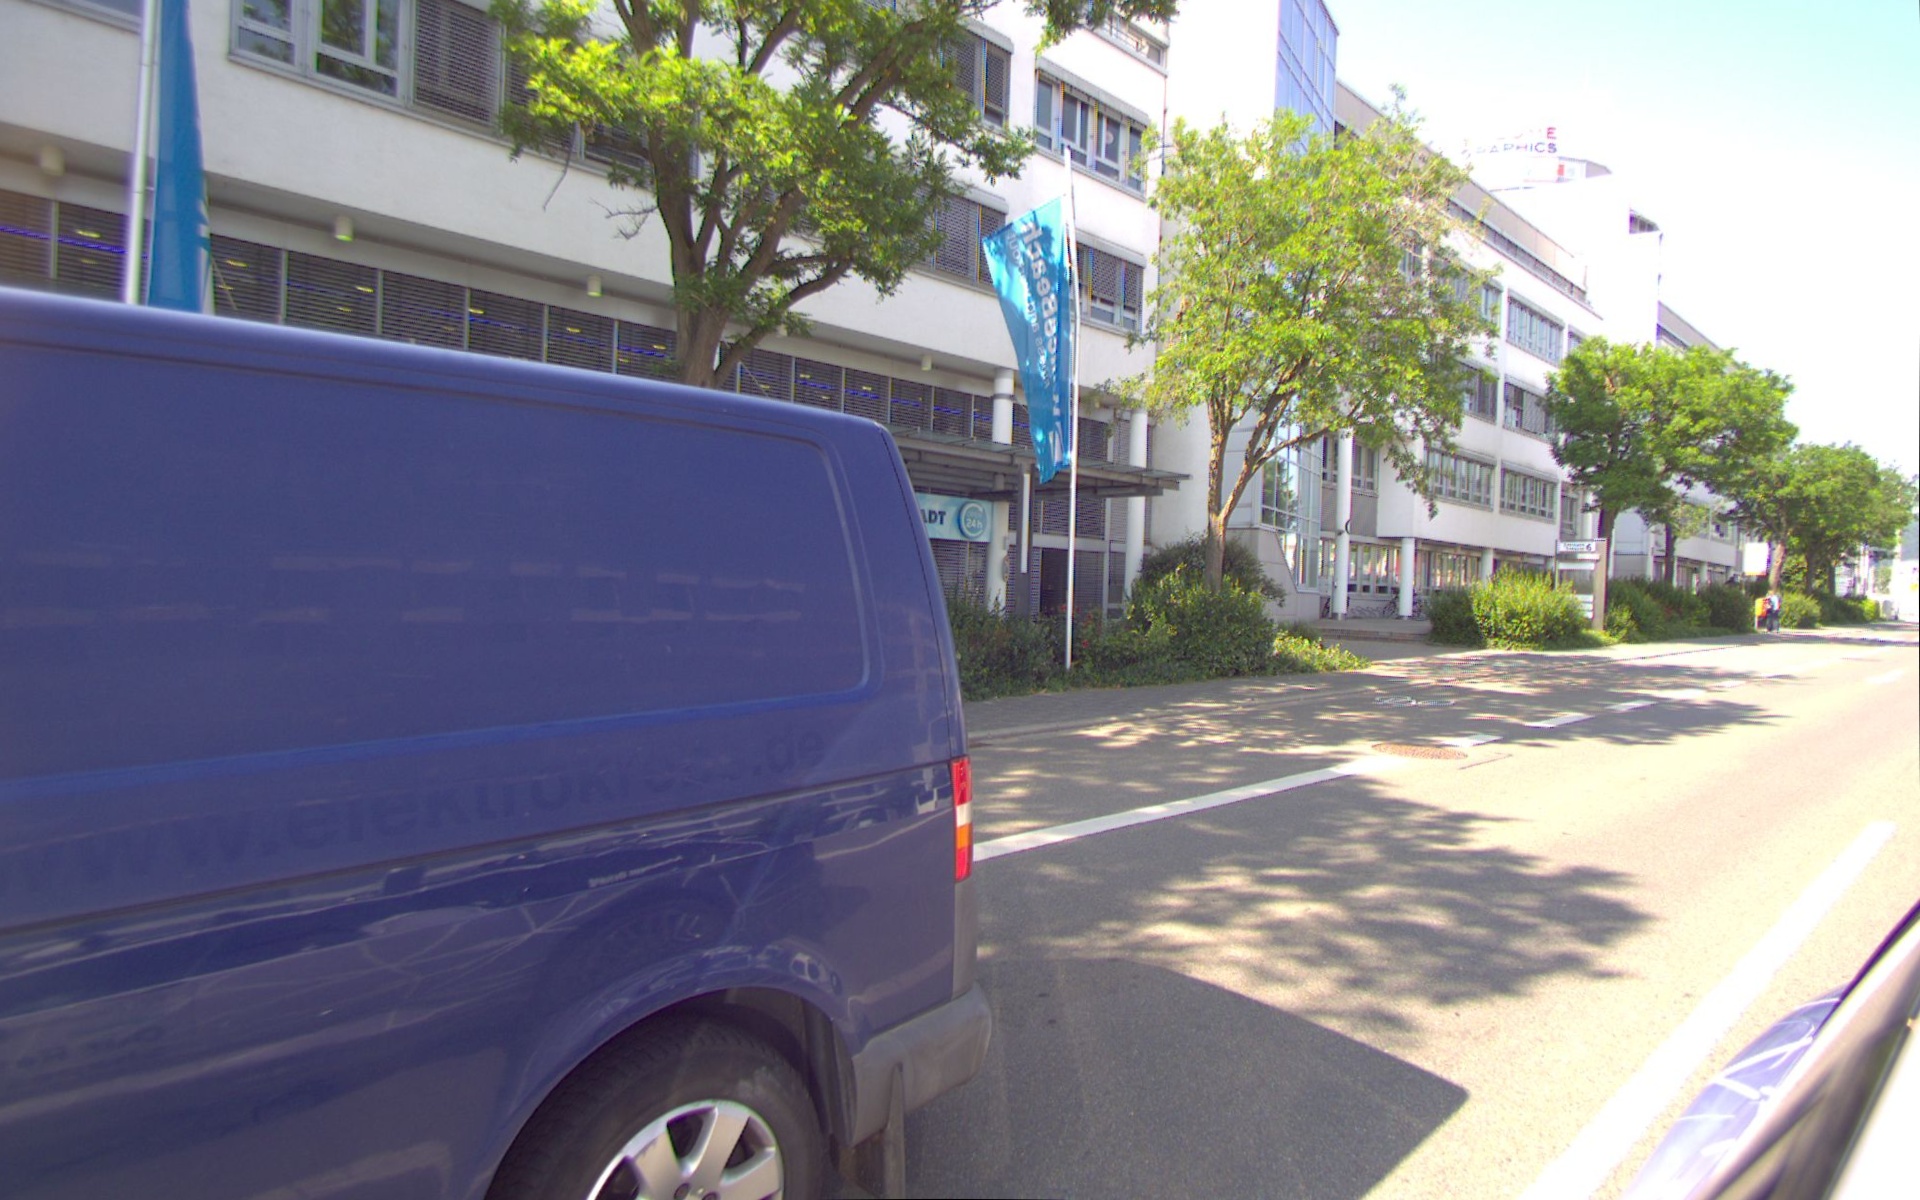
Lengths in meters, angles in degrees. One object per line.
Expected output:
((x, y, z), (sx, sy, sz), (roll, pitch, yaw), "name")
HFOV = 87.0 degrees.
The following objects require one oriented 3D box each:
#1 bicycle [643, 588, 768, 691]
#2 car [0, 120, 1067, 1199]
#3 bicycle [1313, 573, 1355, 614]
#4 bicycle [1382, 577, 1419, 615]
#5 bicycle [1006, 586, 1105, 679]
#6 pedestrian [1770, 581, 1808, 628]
((-3.631, 0.532, 14.385), (1.868, 1.346, 0.501), (2, 1, 30), "bicycle")
((-2.213, 0.406, 1.562), (4.806, 1.972, 1.997), (-1, 2, -41), "car")
((12.905, -0.219, 34.899), (1.852, 1.371, 0.506), (0, 1, -41), "bicycle")
((16.345, -0.151, 37.522), (1.852, 1.371, 0.506), (0, 1, -41), "bicycle")
((1.501, 0.474, 15.611), (0.504, 1.346, 1.856), (2, 1, 41), "bicycle")
((35.197, 0.177, 42.947), (1.267, 1.909, 0.942), (0, 4, -41), "pedestrian")
